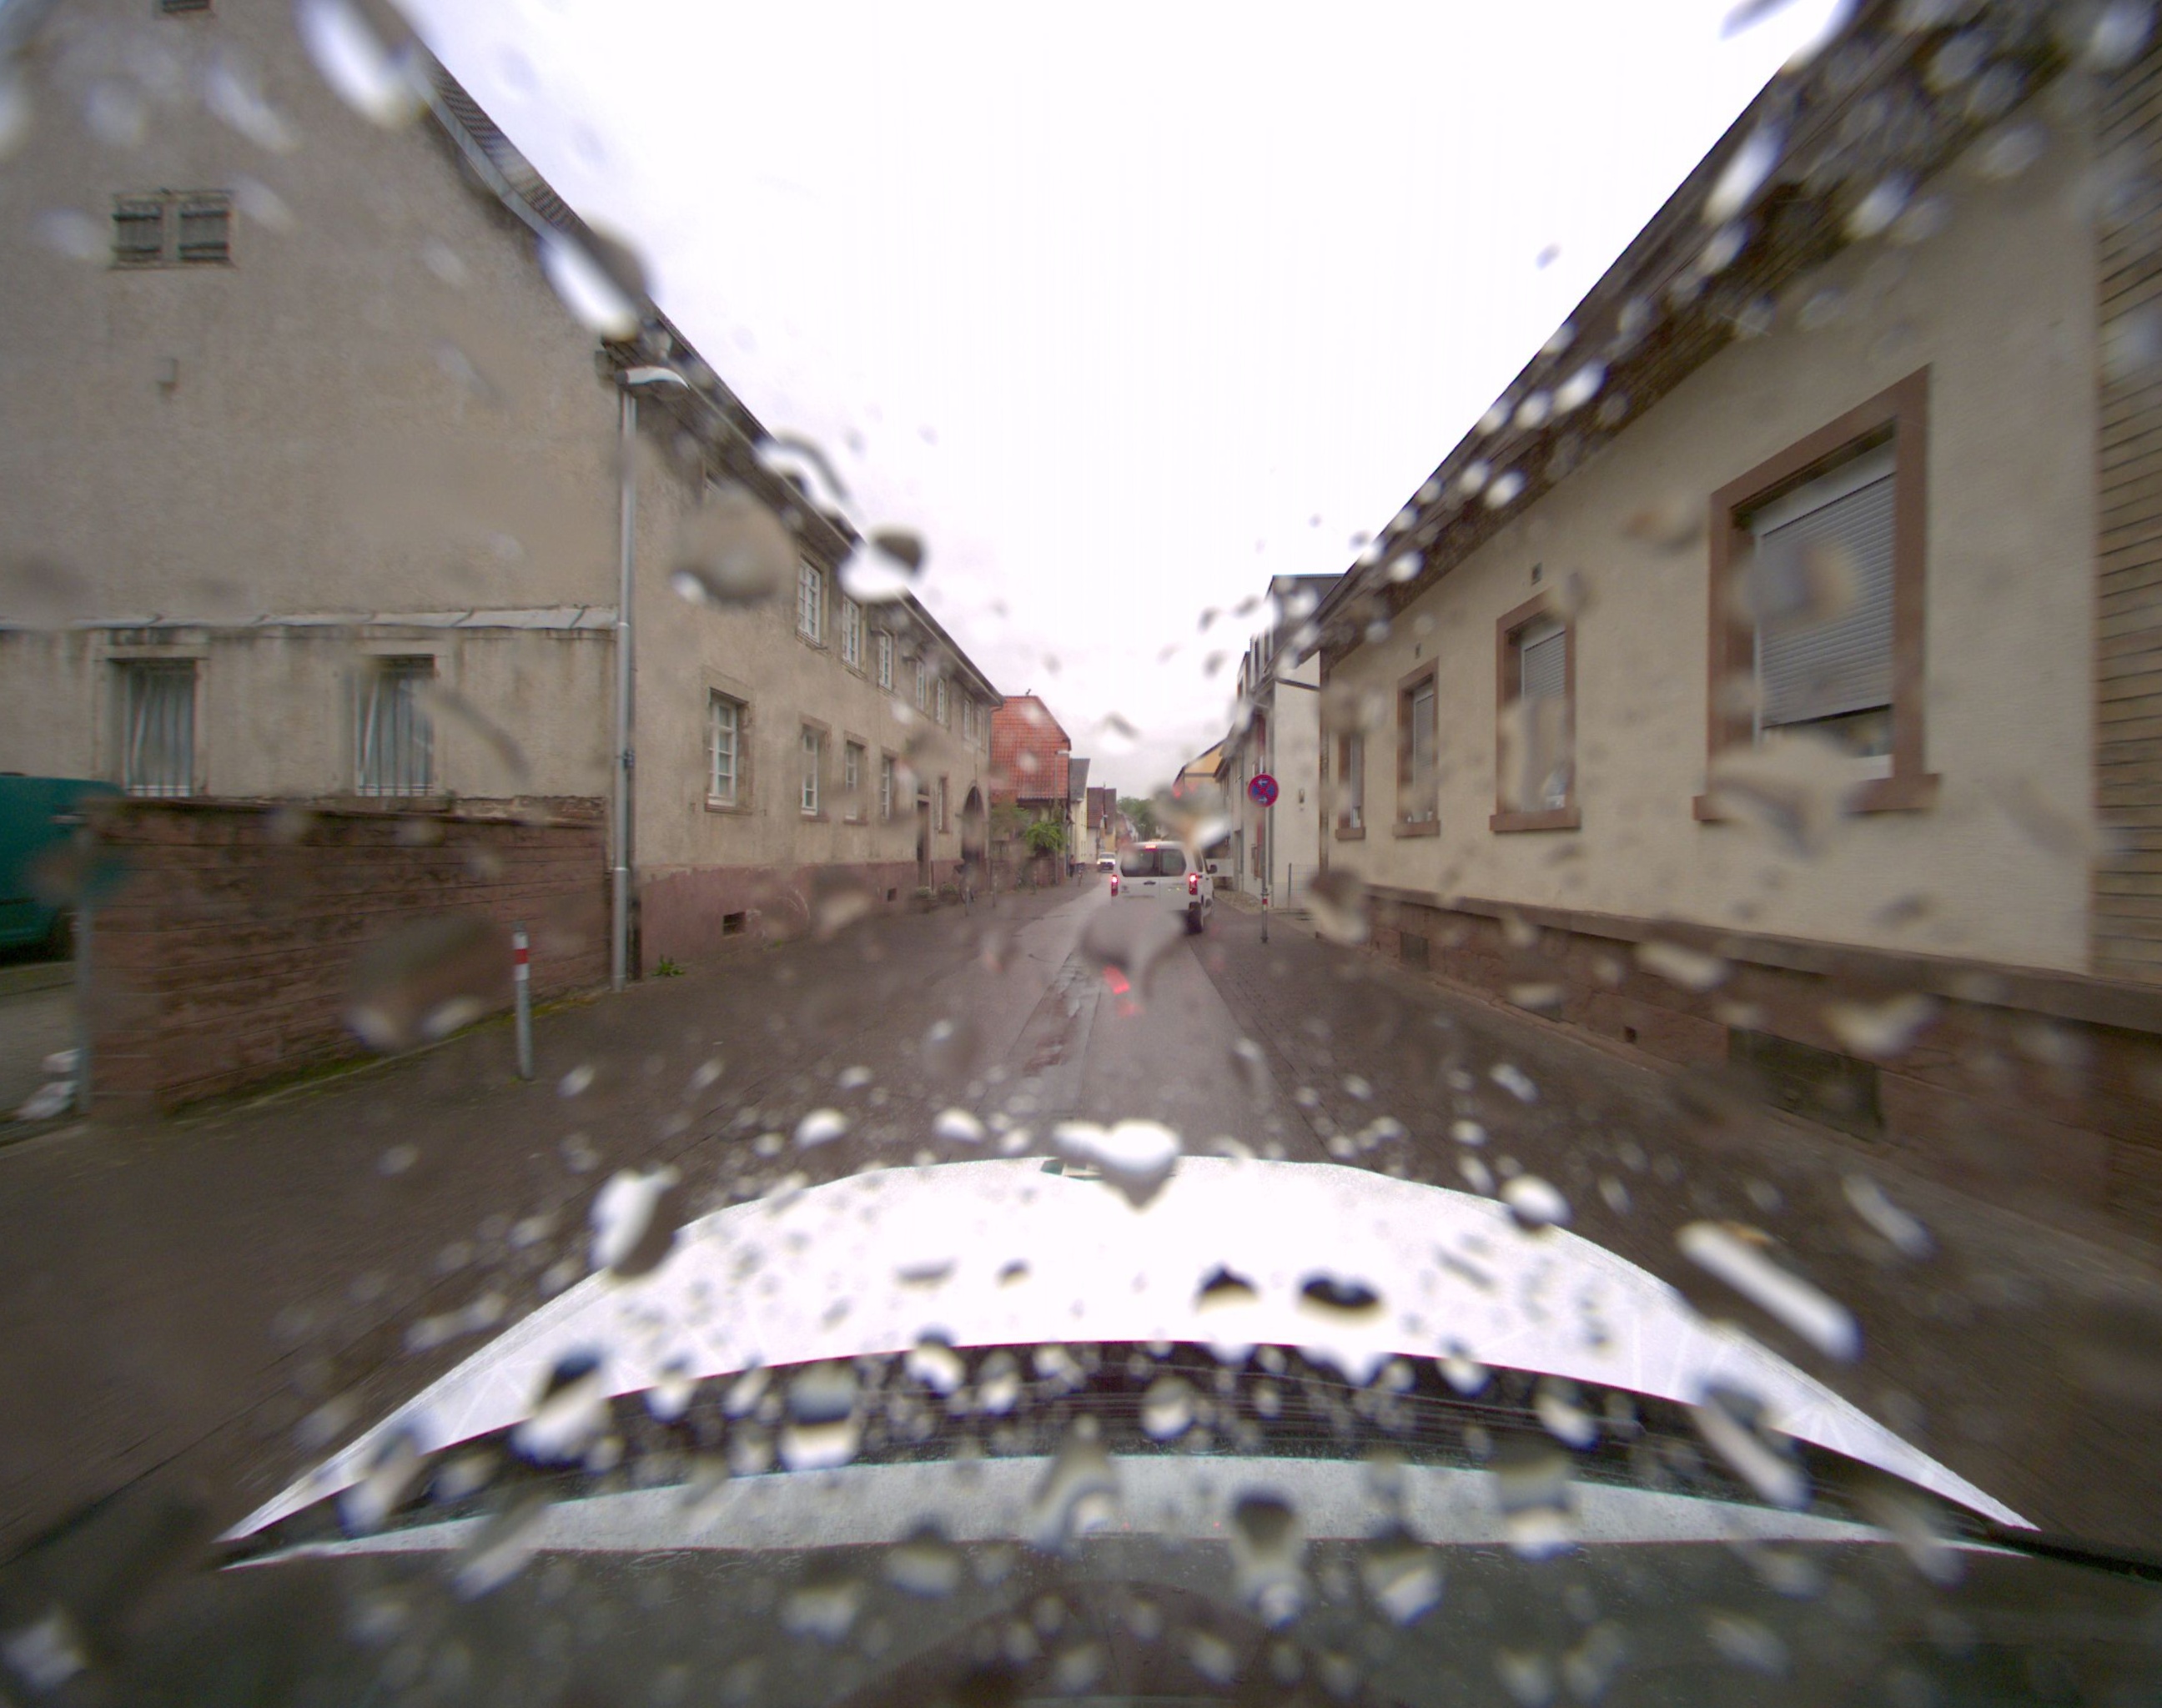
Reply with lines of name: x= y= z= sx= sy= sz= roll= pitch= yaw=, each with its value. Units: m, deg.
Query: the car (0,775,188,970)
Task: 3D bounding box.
car: x=-10.515 y=0.190 z=6.504 sx=1.980 sy=1.715 sz=4.303 roll=0 pitch=3 yaw=-1

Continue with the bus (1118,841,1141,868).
bus: x=6.457 y=0.151 z=107.457 sx=2.781 sy=3.329 sz=8.187 roll=2 pitch=-1 yaw=4

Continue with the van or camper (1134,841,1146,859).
van or camper: x=10.076 y=-0.608 z=139.831 sx=1.826 sy=2.926 sz=5.371 roll=1 pitch=-1 yaw=6

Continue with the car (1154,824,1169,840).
car: x=11.232 y=-3.015 z=113.303 sx=1.984 sy=2.014 sz=4.006 roll=1 pitch=-1 yaw=6

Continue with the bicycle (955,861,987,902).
bicycle: x=-3.265 y=0.805 z=24.269 sx=0.480 sy=1.180 sz=1.838 roll=1 pitch=-1 yaw=6

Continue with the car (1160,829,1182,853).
car: x=8.162 y=-1.152 z=74.231 sx=1.819 sy=2.014 sz=3.698 roll=1 pitch=-1 yaw=4

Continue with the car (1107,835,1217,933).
car: x=1.848 y=0.598 z=17.427 sx=1.782 sy=1.819 sz=4.116 roll=-1 pitch=-1 yaw=13

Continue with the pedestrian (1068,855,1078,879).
pedestrian: x=-0.482 y=0.817 z=51.688 sx=0.566 sy=1.530 sz=0.568 roll=-1 pitch=-1 yaw=-5

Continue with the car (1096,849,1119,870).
car: x=2.634 y=0.561 z=80.610 sx=1.883 sy=1.967 sz=4.731 roll=1 pitch=-1 yaw=6

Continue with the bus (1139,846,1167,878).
bus: x=7.731 y=0.888 z=88.393 sx=2.781 sy=3.180 sz=8.187 roll=2 pitch=-1 yaw=4

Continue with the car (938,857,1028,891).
car: x=-4.165 y=0.834 z=34.737 sx=3.509 sy=1.376 sz=1.597 roll=0 pitch=0 yaw=6
